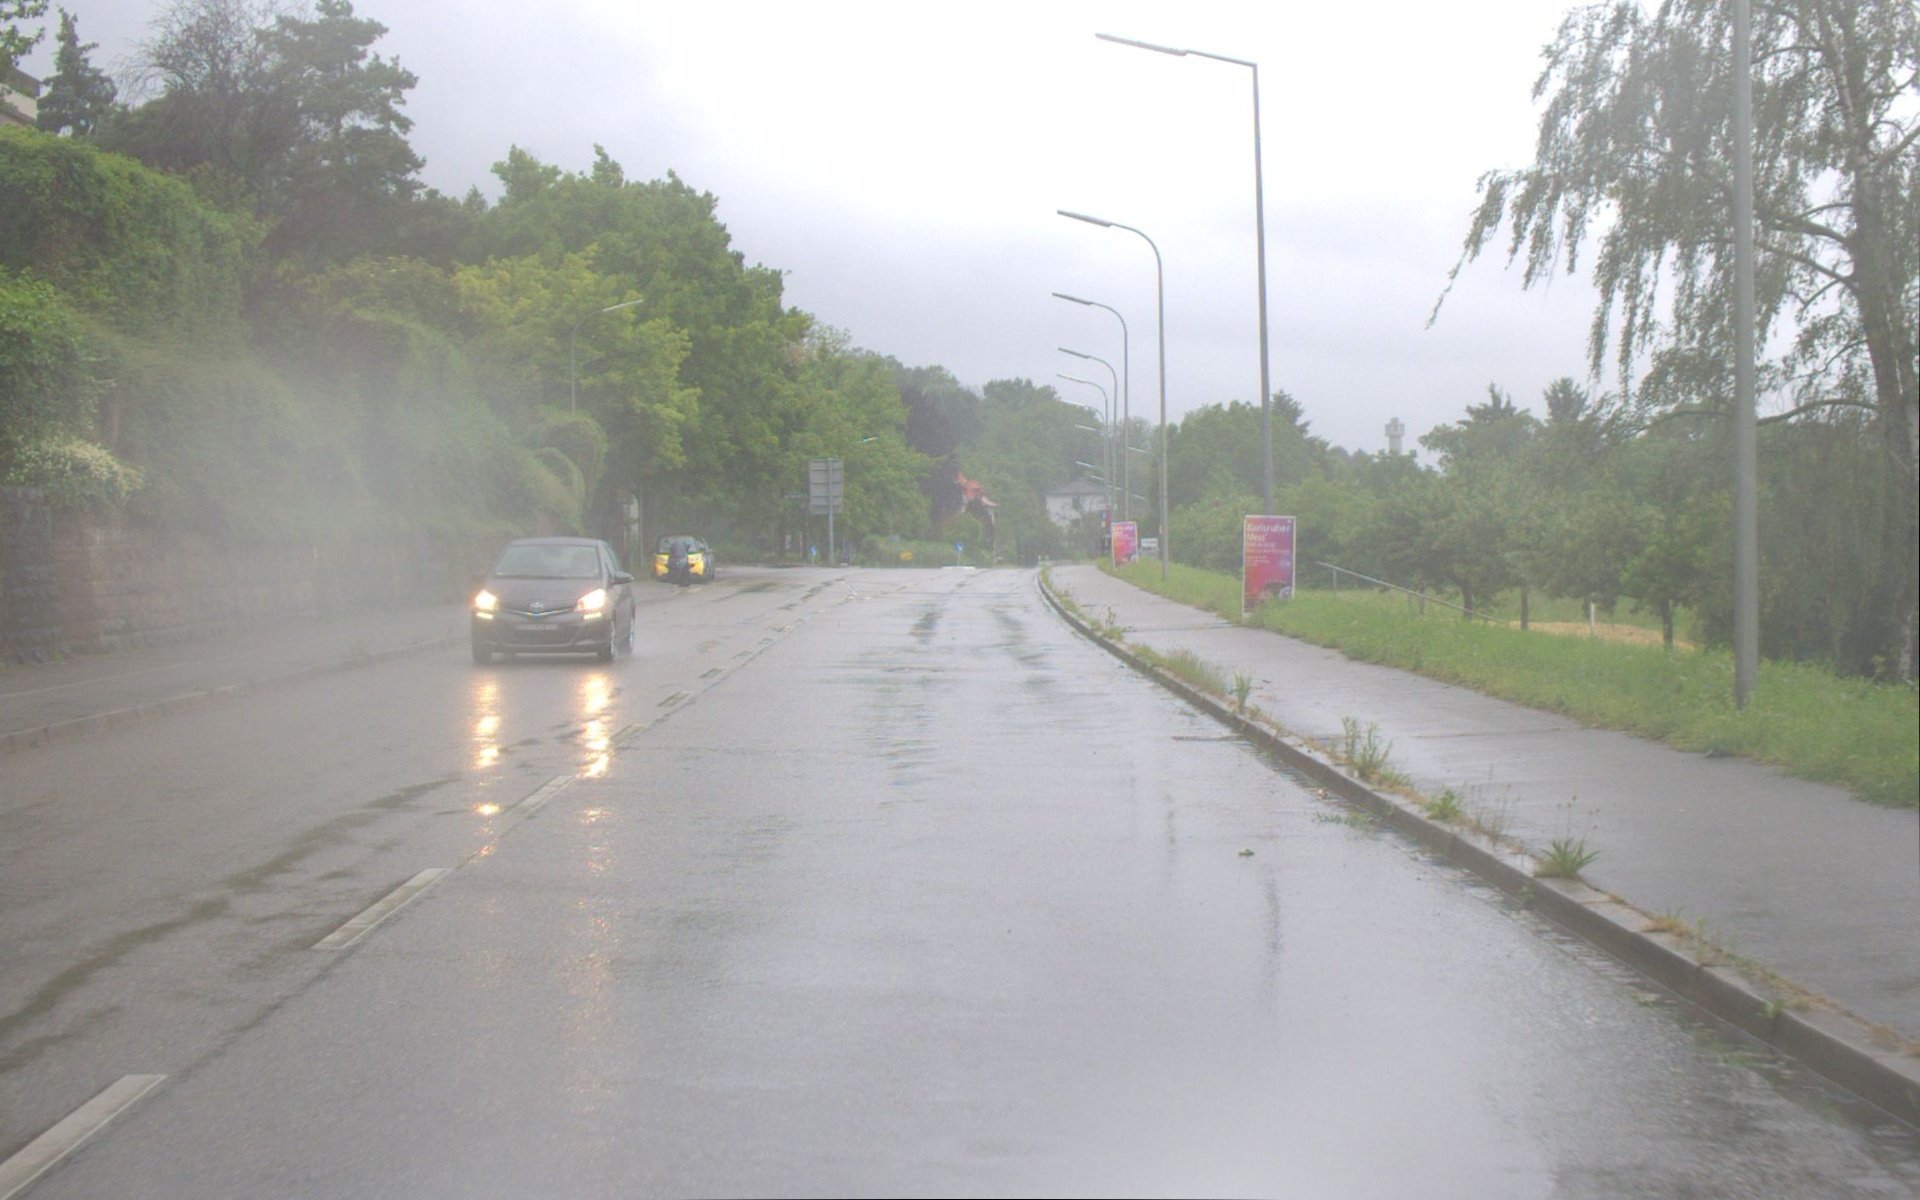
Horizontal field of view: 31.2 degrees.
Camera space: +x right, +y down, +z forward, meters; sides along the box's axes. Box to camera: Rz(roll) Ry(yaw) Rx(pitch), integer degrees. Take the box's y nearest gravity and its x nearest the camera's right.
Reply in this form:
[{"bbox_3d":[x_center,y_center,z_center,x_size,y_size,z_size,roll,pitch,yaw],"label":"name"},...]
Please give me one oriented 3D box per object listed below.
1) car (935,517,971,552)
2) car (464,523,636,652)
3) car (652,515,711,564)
[{"bbox_3d":[-0.420,-3.768,197.929,1.993,2.007,4.000,0,1,-1],"label":"car"},{"bbox_3d":[-4.979,-0.182,42.189,1.759,1.491,4.128,-1,1,-2],"label":"car"},{"bbox_3d":[-8.704,-1.884,107.532,1.727,1.491,3.988,-1,1,-3],"label":"car"}]
